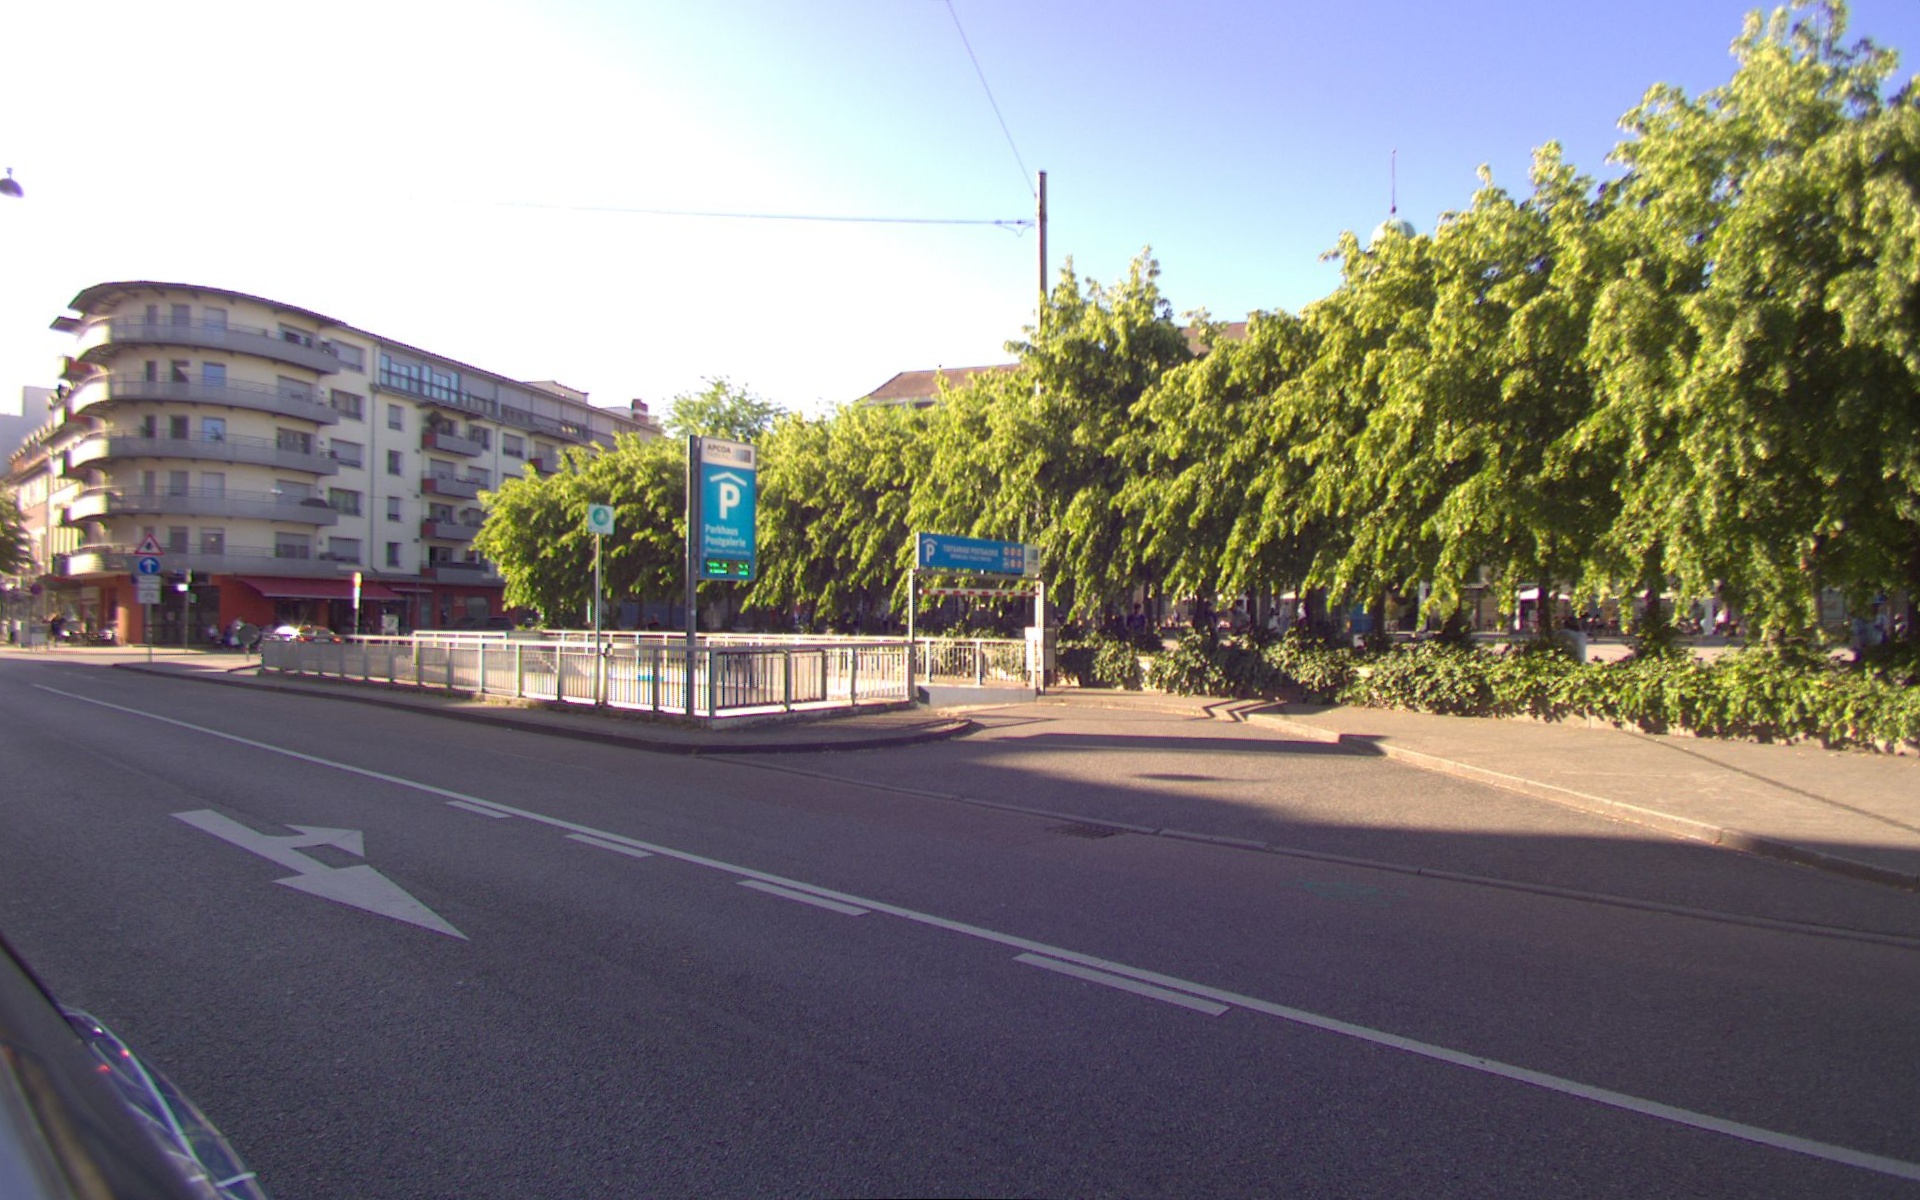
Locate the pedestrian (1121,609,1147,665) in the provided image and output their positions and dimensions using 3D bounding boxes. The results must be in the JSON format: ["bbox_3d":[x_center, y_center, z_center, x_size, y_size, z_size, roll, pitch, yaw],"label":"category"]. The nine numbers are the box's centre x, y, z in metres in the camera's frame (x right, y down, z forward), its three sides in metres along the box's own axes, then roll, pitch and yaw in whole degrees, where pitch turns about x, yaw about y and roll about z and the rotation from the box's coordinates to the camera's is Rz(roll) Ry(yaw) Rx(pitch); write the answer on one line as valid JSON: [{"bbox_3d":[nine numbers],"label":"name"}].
[{"bbox_3d":[4.452,0.932,25.863,0.545,1.385,0.680,-1,0,19],"label":"pedestrian"}]

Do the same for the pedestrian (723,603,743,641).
[{"bbox_3d":[-11.329,1.100,50.463,0.679,1.857,0.743,-1,0,19],"label":"pedestrian"}]

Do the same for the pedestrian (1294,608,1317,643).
[{"bbox_3d":[15.335,1.124,44.959,0.672,1.536,0.696,-1,0,-19],"label":"pedestrian"}]

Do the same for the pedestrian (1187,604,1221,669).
[{"bbox_3d":[5.783,0.852,23.980,0.688,1.511,0.680,-1,0,19],"label":"pedestrian"}]

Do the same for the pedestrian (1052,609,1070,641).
[{"bbox_3d":[4.467,1.107,44.823,0.684,1.385,0.684,-1,0,1],"label":"pedestrian"}]

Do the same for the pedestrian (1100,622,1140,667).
[{"bbox_3d":[3.948,1.092,24.989,0.682,1.079,0.686,-1,0,-29],"label":"pedestrian"}]

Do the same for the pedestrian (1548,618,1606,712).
[{"bbox_3d":[9.799,1.012,16.096,0.611,1.447,0.588,-1,0,14],"label":"pedestrian"}]

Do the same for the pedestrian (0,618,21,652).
[{"bbox_3d":[-50.606,1.857,53.677,1.052,1.732,1.083,-1,0,-38],"label":"pedestrian"}]

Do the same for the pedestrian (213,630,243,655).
[{"bbox_3d":[-36.823,2.124,50.906,0.827,1.207,0.931,-1,0,16],"label":"pedestrian"}]

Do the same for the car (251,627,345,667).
[{"bbox_3d":[-26.934,1.906,41.131,4.239,1.542,1.657,-1,-5,35],"label":"car"}]

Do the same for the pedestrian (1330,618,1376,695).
[{"bbox_3d":[7.516,1.061,19.351,0.622,1.409,0.644,-1,0,44],"label":"pedestrian"}]

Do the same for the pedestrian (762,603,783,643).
[{"bbox_3d":[-9.045,1.101,48.818,0.681,1.877,0.741,-1,0,27],"label":"pedestrian"}]

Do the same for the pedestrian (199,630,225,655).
[{"bbox_3d":[-37.644,2.135,50.951,0.882,1.207,0.772,-1,0,30],"label":"pedestrian"}]

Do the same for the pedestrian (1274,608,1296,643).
[{"bbox_3d":[14.651,1.133,45.619,0.672,1.542,0.696,-1,0,-18],"label":"pedestrian"}]

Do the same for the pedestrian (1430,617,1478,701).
[{"bbox_3d":[8.743,1.026,17.905,0.621,1.447,0.645,-1,0,39],"label":"pedestrian"}]

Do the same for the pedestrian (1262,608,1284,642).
[{"bbox_3d":[14.347,1.137,46.388,0.673,1.535,0.695,-1,0,-7],"label":"pedestrian"}]

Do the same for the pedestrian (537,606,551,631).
[{"bbox_3d":[-31.287,1.398,76.040,0.684,1.857,0.737,-1,0,41],"label":"pedestrian"}]

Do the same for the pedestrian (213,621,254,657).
[{"bbox_3d":[-35.820,1.910,49.922,1.252,1.678,1.142,-1,0,-7],"label":"pedestrian"}]

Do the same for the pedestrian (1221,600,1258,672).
[{"bbox_3d":[6.349,0.803,23.017,0.517,1.594,0.686,-1,0,-17],"label":"pedestrian"}]

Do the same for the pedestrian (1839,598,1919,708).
[{"bbox_3d":[13.259,0.745,14.620,0.691,1.532,0.677,-1,0,30],"label":"pedestrian"}]

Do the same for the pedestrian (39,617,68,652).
[{"bbox_3d":[-47.261,1.805,52.757,0.962,1.762,1.047,-1,0,41],"label":"pedestrian"}]

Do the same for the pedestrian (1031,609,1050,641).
[{"bbox_3d":[3.572,1.119,44.860,0.752,1.385,0.684,-1,0,1],"label":"pedestrian"}]

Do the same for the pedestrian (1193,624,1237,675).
[{"bbox_3d":[5.600,1.076,22.239,0.682,1.079,0.686,-1,0,-13],"label":"pedestrian"}]

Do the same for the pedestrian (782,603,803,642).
[{"bbox_3d":[-8.225,1.100,49.631,0.681,1.857,0.741,-1,0,27],"label":"pedestrian"}]
